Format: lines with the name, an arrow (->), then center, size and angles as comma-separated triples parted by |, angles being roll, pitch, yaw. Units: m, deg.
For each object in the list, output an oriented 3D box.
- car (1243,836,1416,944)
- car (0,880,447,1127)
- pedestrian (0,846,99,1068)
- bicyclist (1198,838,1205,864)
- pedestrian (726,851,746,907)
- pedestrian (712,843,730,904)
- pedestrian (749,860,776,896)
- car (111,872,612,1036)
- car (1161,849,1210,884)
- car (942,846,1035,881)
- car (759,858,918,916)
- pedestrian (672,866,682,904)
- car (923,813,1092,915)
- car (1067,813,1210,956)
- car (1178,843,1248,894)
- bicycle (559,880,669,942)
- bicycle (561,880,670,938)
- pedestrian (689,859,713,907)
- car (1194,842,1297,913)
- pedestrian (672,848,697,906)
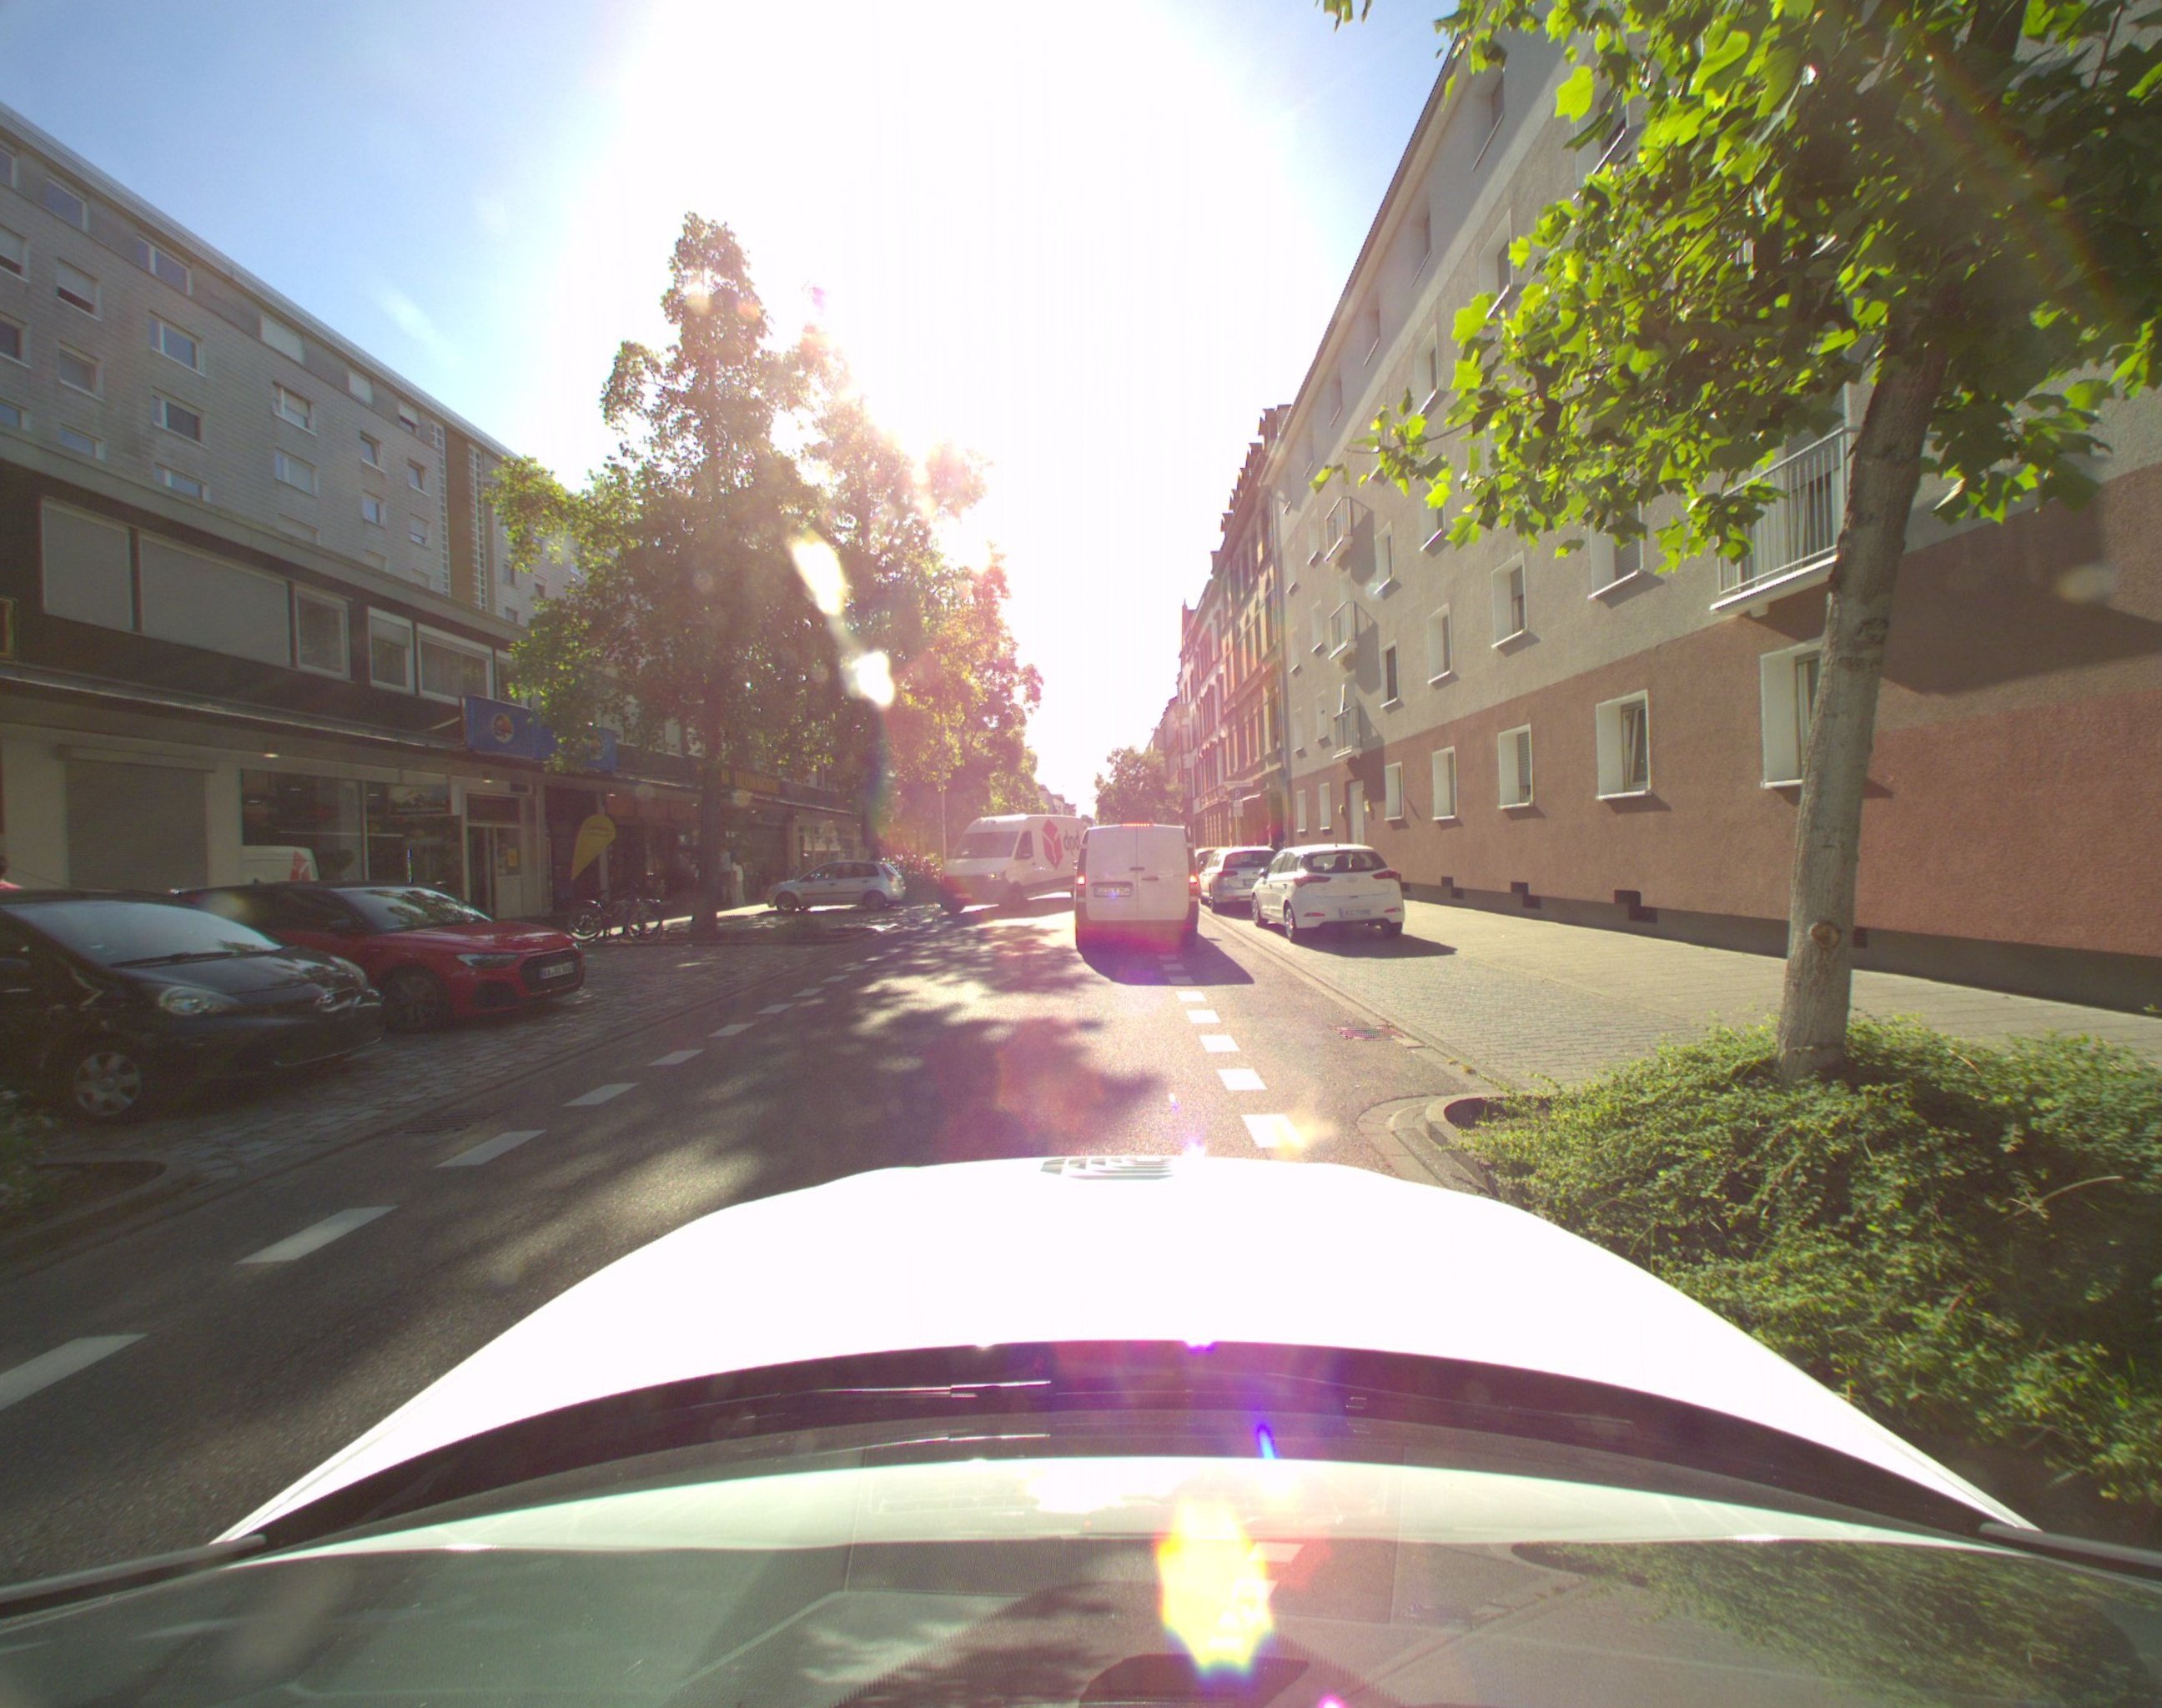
car -> 4.059, 0.524, 13.959 | 1.726, 1.486, 3.794 | -4, 0, 0
car -> -7.034, 0.964, 5.822 | 3.656, 1.450, 1.612 | -1, 0, -2
pedestrian -> -8.565, 0.810, 6.600 | 0.574, 1.712, 0.639 | -2, 0, 29
bicyclist -> 6.871, -0.167, 46.399 | 0.359, 1.477, 0.531 | -1, 0, 5
pedestrian -> -10.706, 0.767, 25.258 | 0.389, 1.705, 0.502 | -1, -1, 2
pedestrian -> -11.383, 0.612, 25.770 | 0.389, 1.934, 0.361 | -1, -1, 2
pedestrian -> -12.025, 0.900, 30.776 | 0.721, 1.330, 0.703 | -1, -1, -2
car -> -7.311, 0.953, 8.497 | 3.897, 1.450, 1.713 | -1, 0, 6
car -> 4.760, 0.538, 37.556 | 1.733, 1.451, 4.000 | -2, 0, 0
car -> -5.444, 0.543, 48.570 | 5.274, 1.974, 2.015 | -1, 0, 0
car -> -6.937, 0.920, 23.609 | 3.974, 1.457, 1.860 | -2, 0, 0
pedestrian -> -13.044, 0.998, 26.309 | 0.212, 1.244, 0.215 | -1, -1, 2
car -> -1.810, 0.202, 23.199 | 1.976, 2.474, 6.639 | -2, 0, 21
car -> 0.784, 0.394, 13.494 | 1.914, 1.914, 4.887 | -1, 0, 0
car -> 4.203, 0.434, 26.454 | 1.703, 1.480, 3.711 | -2, 0, 1
bicycle -> -8.752, 1.061, 15.292 | 1.711, 1.117, 0.623 | 0, 0, 4
bicycle -> -9.288, 1.087, 16.274 | 1.860, 1.106, 0.587 | 0, 0, 4
pedestrian -> -11.765, 0.893, 25.216 | 0.467, 1.473, 0.420 | -2, 0, -2
car -> 3.904, 0.511, 20.013 | 1.778, 1.460, 4.520 | -3, 0, 3
pedestrian -> -12.424, 0.700, 25.513 | 0.483, 1.782, 0.427 | -2, 0, -2
